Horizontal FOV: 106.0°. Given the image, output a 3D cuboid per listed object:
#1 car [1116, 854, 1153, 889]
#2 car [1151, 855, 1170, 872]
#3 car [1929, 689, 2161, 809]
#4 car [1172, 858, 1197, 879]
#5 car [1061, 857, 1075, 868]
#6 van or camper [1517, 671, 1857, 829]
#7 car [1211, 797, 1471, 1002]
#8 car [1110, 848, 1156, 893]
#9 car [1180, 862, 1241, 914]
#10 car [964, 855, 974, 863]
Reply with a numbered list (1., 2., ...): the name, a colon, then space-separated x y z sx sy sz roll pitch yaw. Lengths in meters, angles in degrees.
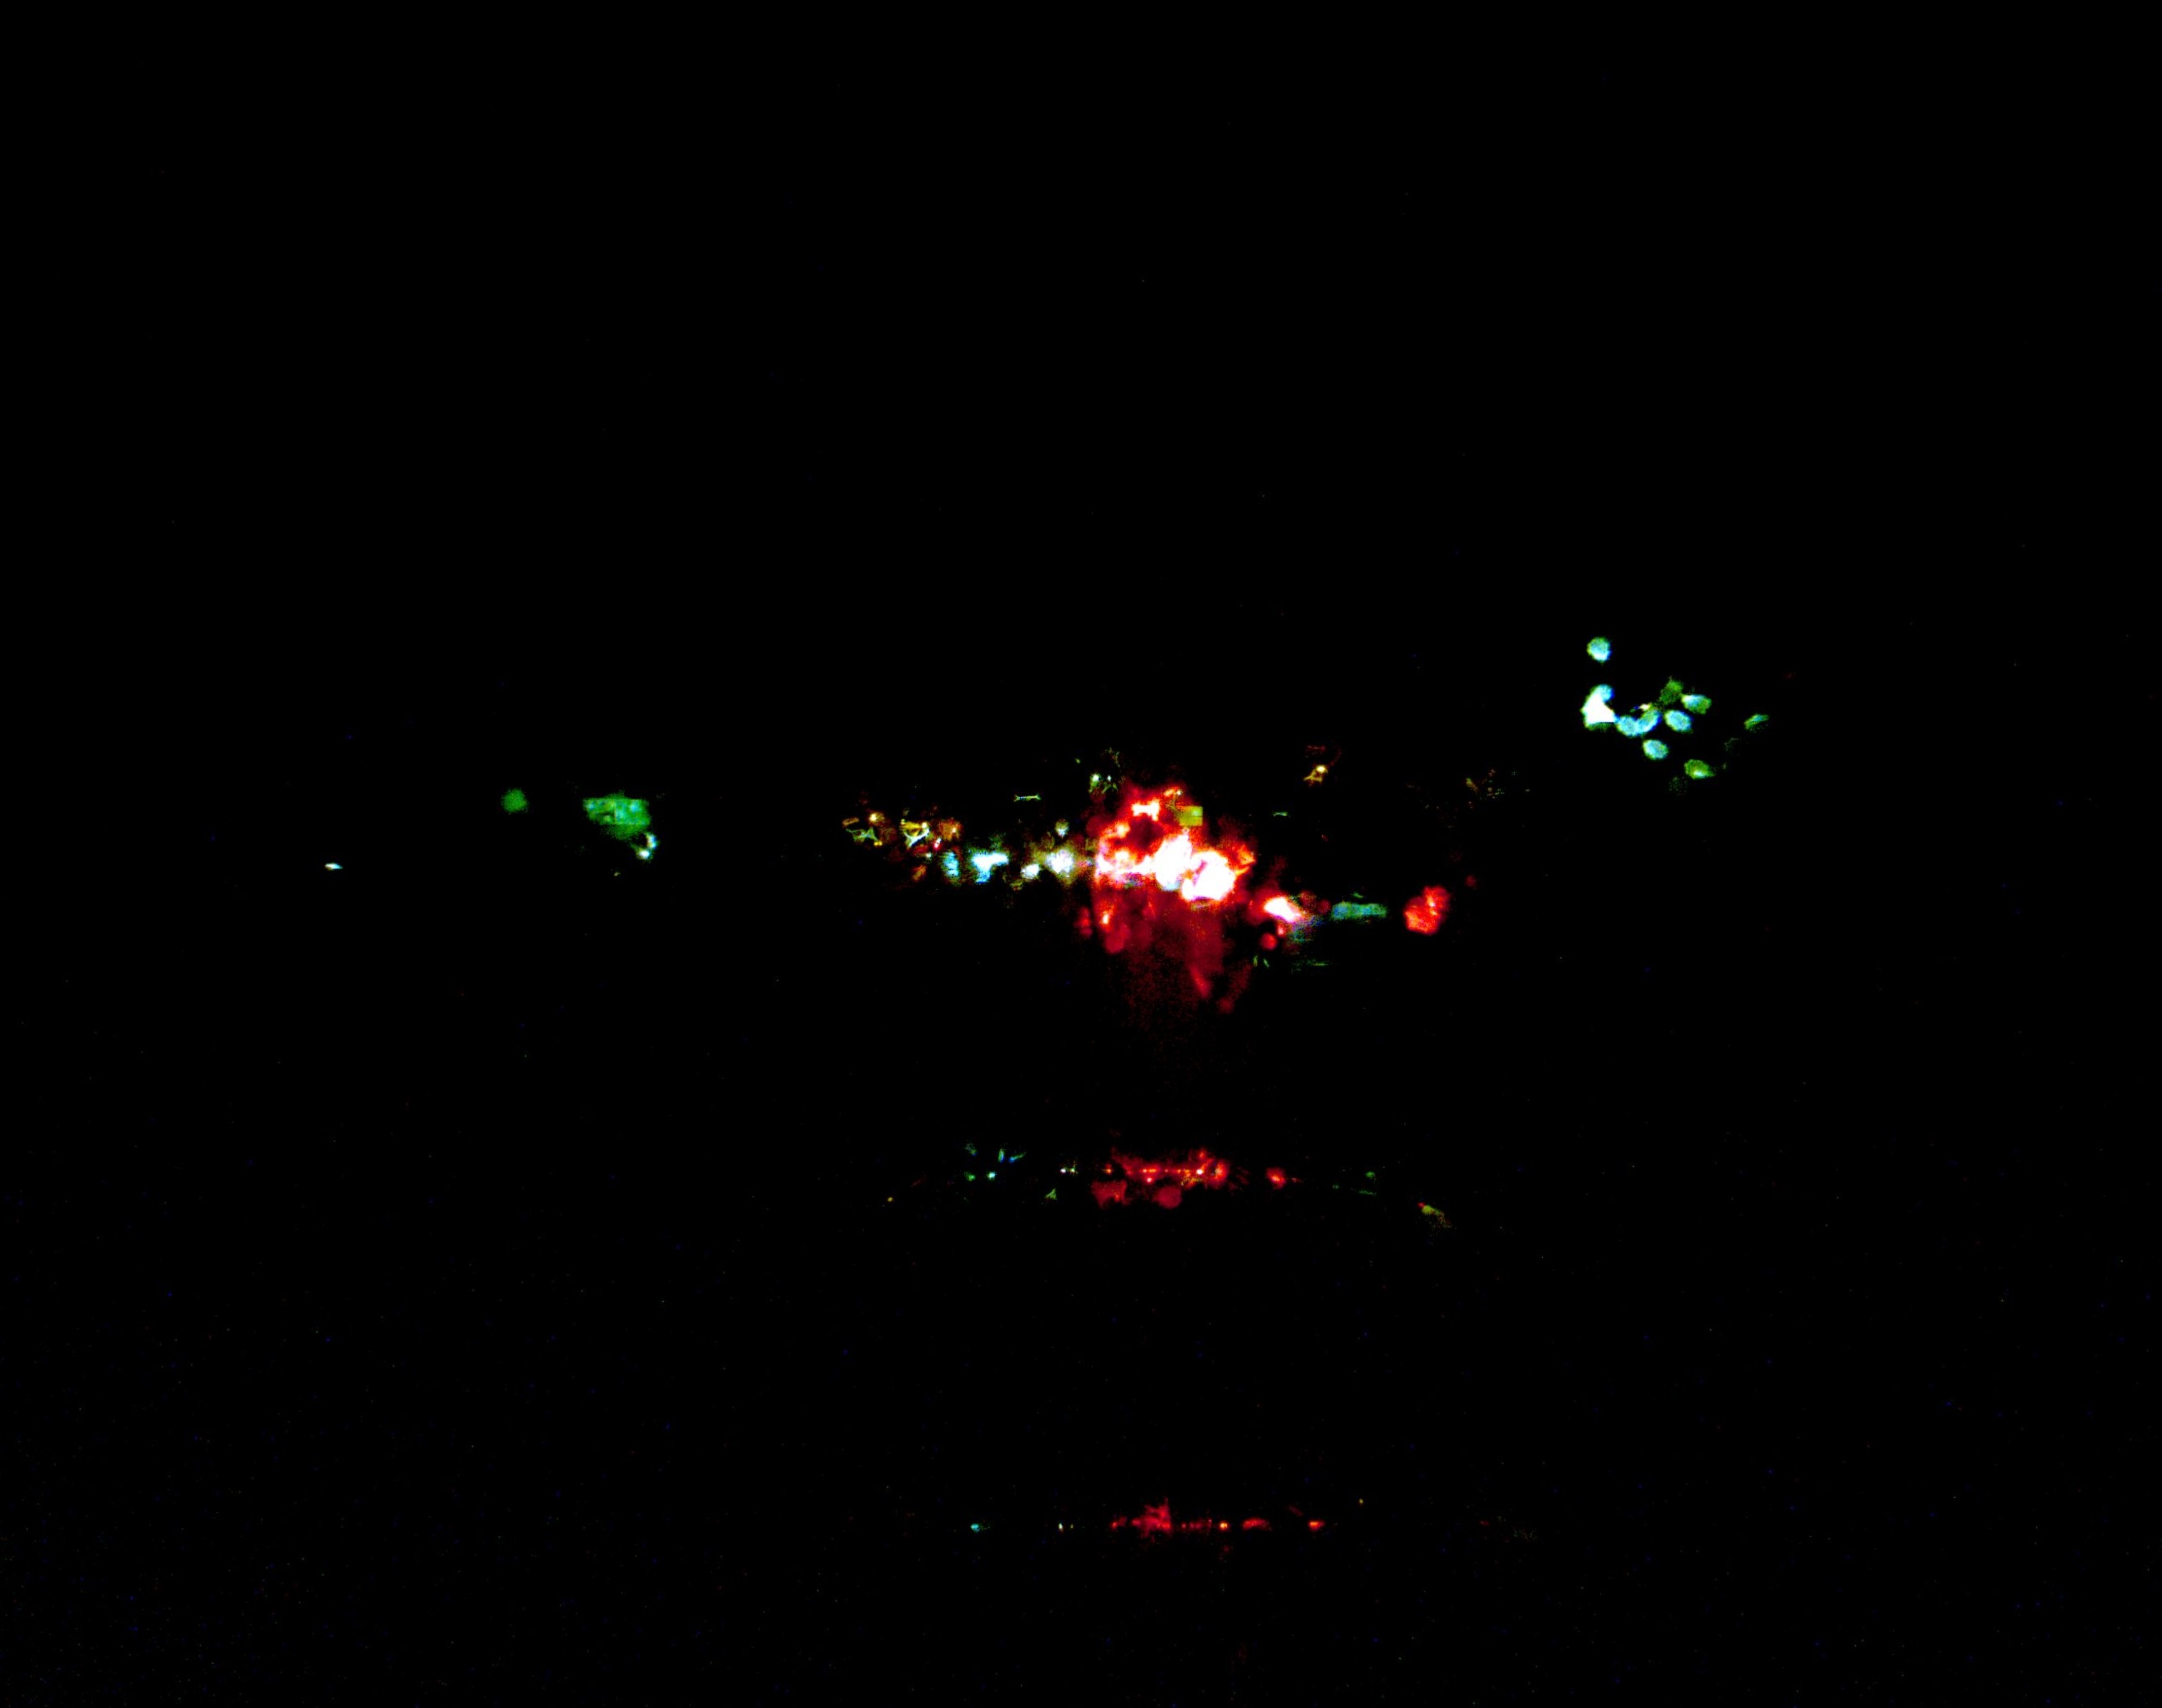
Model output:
1. car: 2.760 0.854 41.753 1.700 1.638 3.736 -2 0 6
2. car: 7.020 0.855 71.986 1.655 1.450 4.055 -1 -1 5
3. car: 16.667 -1.646 12.991 1.637 1.618 4.116 0 0 -13
4. car: 7.429 1.015 58.421 1.654 1.450 4.058 -1 -1 7
5. car: -1.859 1.134 114.510 1.706 1.499 3.723 -2 0 -5
6. van or camper: 13.965 -2.182 19.533 2.584 2.908 6.328 -1 0 -14
7. car: 2.854 0.437 9.998 1.935 1.972 4.219 -1 0 1
8. car: 2.106 0.628 32.053 1.686 1.630 3.858 0 -1 5
9. car: 4.070 1.001 25.689 1.758 1.450 4.228 -1 0 9
10. car: -26.090 1.199 189.745 1.991 1.912 4.733 -1 0 -6
